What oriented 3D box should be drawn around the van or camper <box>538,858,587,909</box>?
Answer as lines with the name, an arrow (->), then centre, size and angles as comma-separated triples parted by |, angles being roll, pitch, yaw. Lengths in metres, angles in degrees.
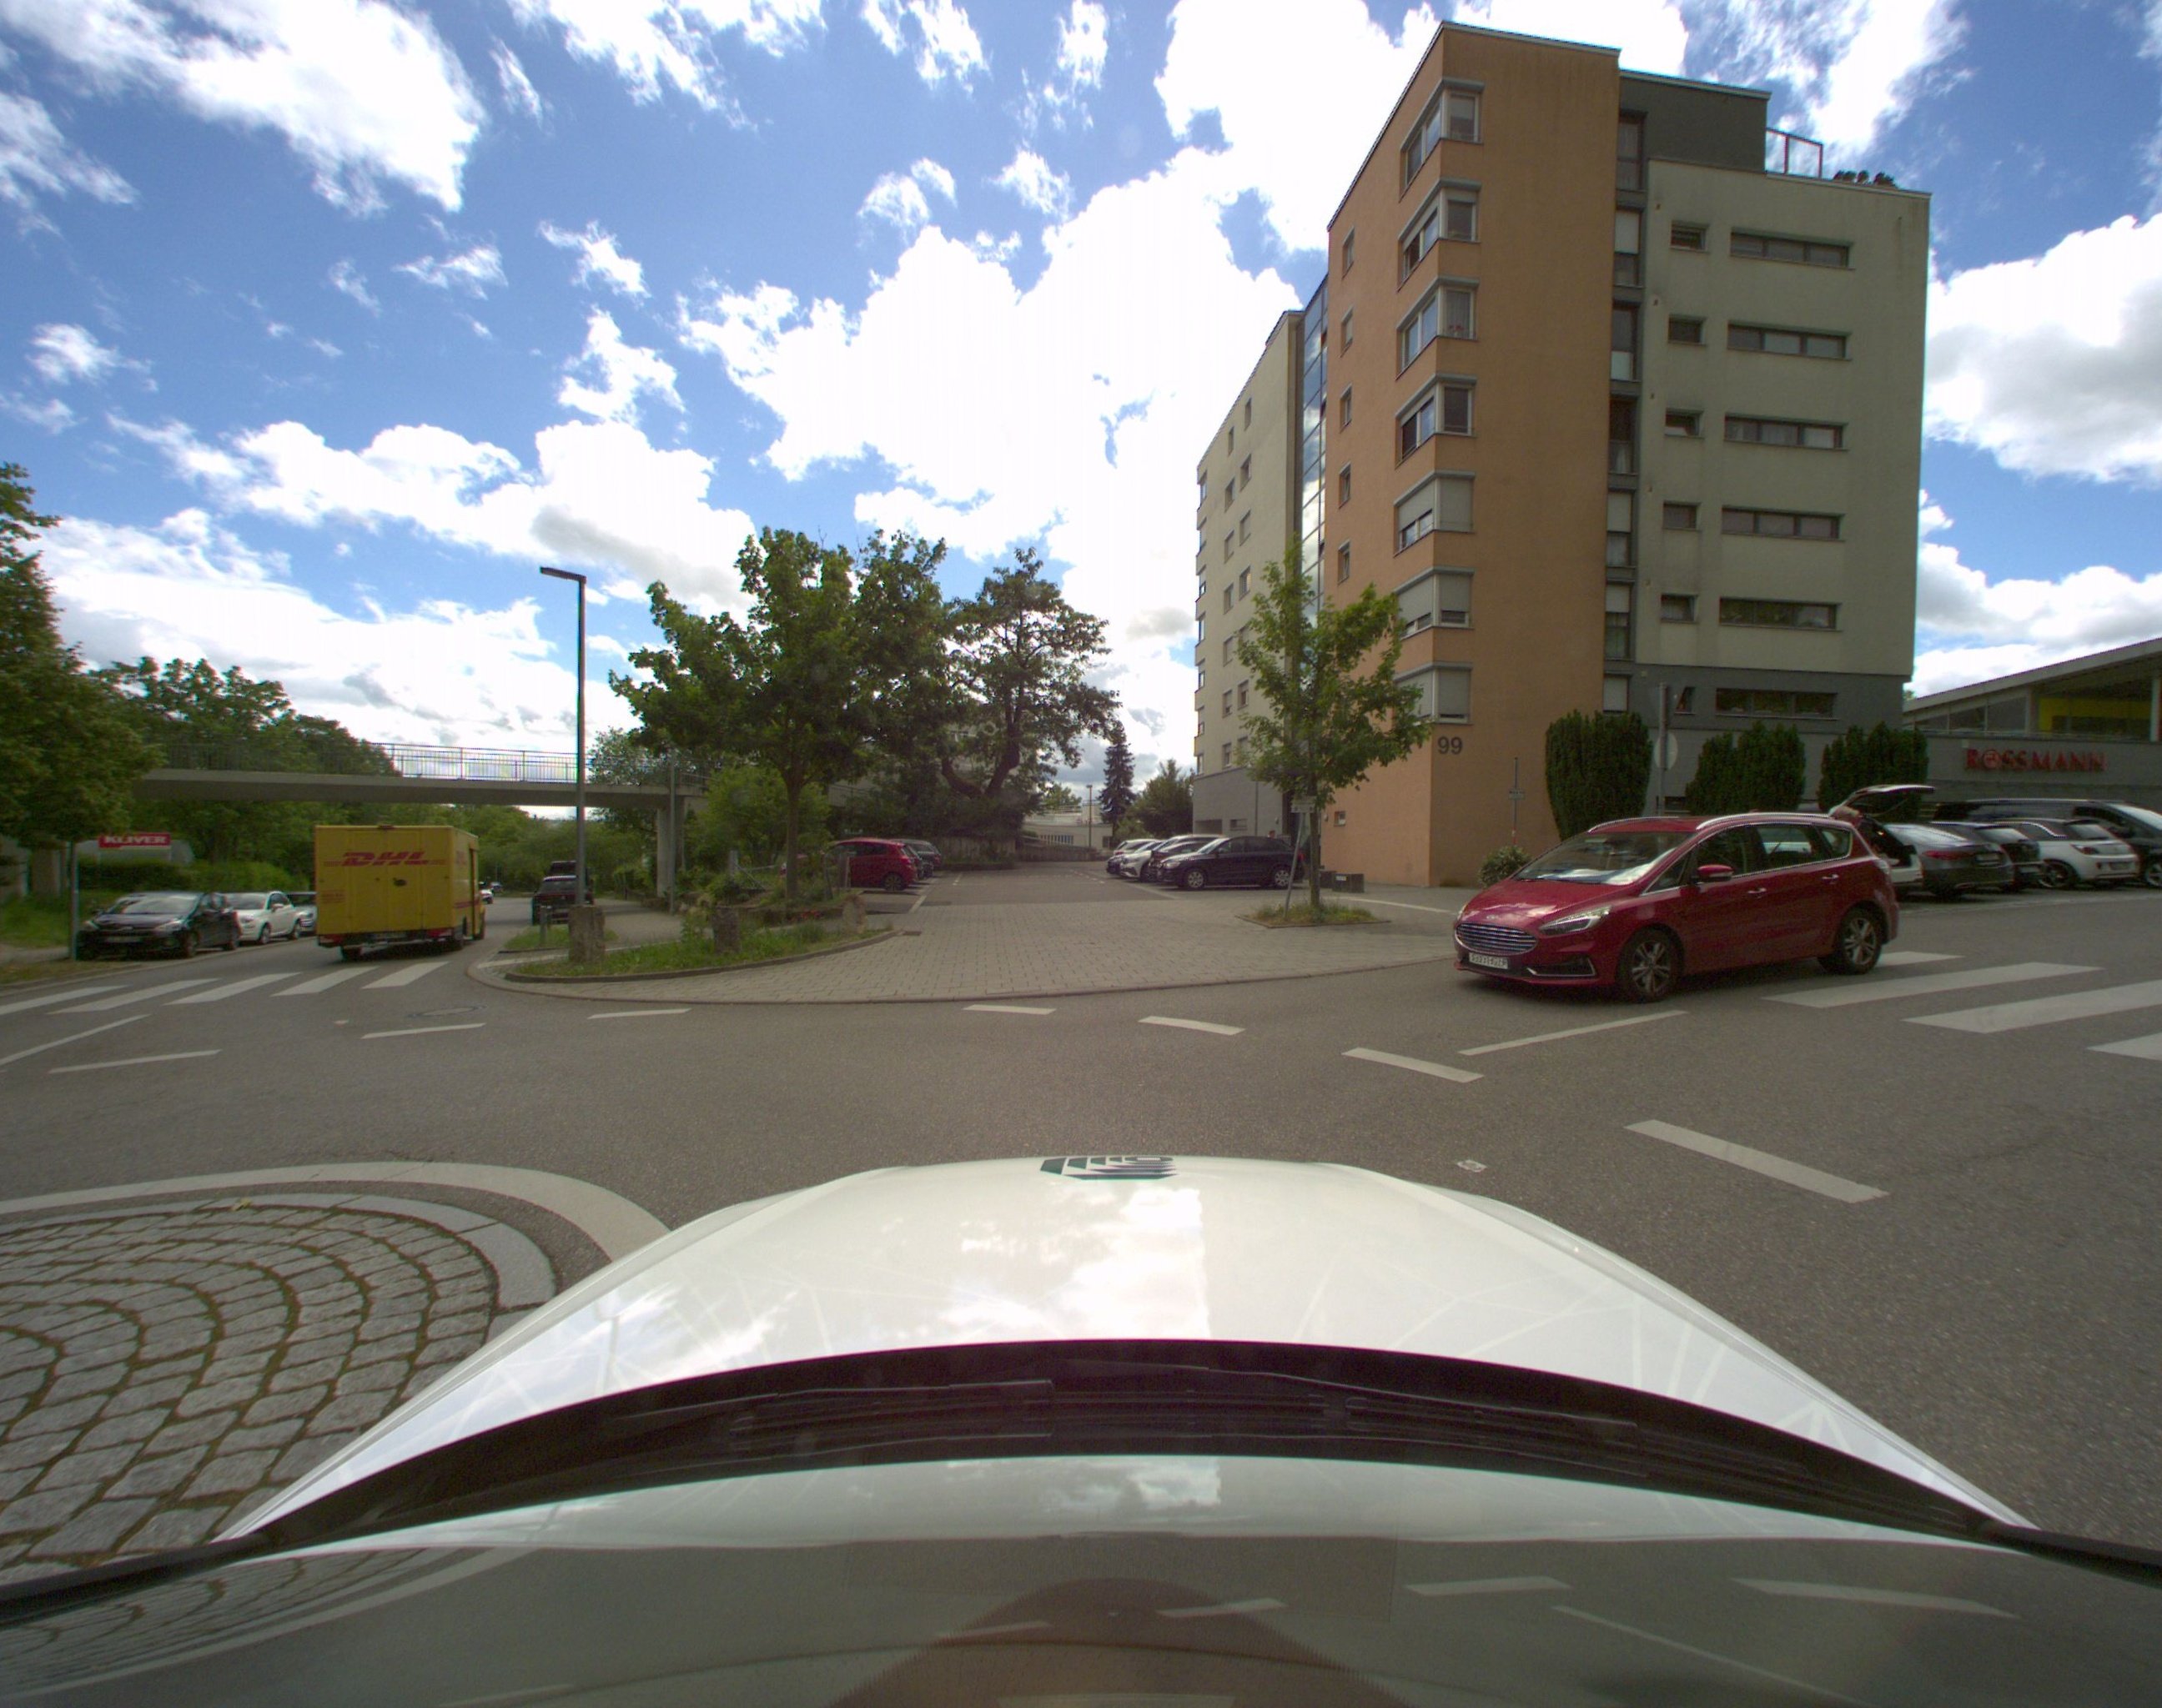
van or camper -> -28.151, 1.610, 44.272 | 2.008, 2.523, 5.414 | -3, -1, -32

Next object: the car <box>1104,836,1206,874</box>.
car -> 3.030, 0.044, 33.895 | 3.975, 1.517, 1.753 | 0, -1, -6

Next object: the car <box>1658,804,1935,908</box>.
car -> 13.212, 0.040, 15.375 | 1.567, 1.659, 3.766 | -3, 0, -9

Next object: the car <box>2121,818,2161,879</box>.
car -> 27.252, -0.176, 18.744 | 1.636, 1.482, 3.766 | -3, 0, -9

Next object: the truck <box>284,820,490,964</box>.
truck -> -15.586, 0.799, 18.827 | 2.482, 2.702, 6.757 | 0, -2, -31

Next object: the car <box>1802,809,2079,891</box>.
car -> 17.945, -0.064, 17.280 | 1.636, 1.482, 3.766 | -3, 0, -9

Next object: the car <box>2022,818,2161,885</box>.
car -> 25.144, -0.078, 19.073 | 1.636, 1.482, 3.766 | -3, 0, -9

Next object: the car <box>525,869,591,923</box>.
car -> -18.759, 1.563, 29.192 | 1.826, 1.678, 4.323 | -1, -4, -34

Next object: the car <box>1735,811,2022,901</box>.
car -> 15.327, 0.041, 15.963 | 1.636, 1.482, 3.766 | -3, 0, -9

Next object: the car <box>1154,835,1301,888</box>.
car -> 4.317, 0.220, 24.308 | 4.035, 1.517, 1.752 | 0, -1, -6

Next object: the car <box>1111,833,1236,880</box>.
car -> 3.248, 0.087, 28.975 | 4.122, 1.594, 1.685 | 0, -1, -13

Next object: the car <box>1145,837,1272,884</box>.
car -> 4.109, 0.207, 26.644 | 3.821, 1.459, 1.689 | 0, -1, -6

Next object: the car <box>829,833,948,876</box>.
car -> -7.716, 0.032, 32.869 | 4.548, 1.668, 1.936 | 0, -1, -13

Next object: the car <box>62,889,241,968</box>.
car -> -21.314, 1.632, 18.878 | 1.799, 1.468, 3.957 | 0, -1, -35

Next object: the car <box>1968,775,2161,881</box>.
car -> 22.639, -0.524, 17.869 | 1.823, 2.160, 3.965 | 0, -1, -9

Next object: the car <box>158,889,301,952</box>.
car -> -23.630, 1.791, 22.776 | 1.897, 1.460, 3.511 | 0, -1, -31

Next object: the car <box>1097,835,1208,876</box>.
car -> 2.705, 0.065, 31.442 | 4.035, 1.517, 1.752 | 0, -1, -6

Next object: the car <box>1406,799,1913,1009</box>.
car -> 5.971, 0.381, 8.510 | 4.533, 1.644, 1.968 | -3, 0, -18

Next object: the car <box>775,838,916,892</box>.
car -> -6.551, 0.299, 23.005 | 3.650, 1.439, 1.678 | 0, -1, -10

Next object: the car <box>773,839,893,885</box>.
car -> -8.284, 0.256, 27.481 | 3.650, 1.498, 1.678 | 0, -1, -10

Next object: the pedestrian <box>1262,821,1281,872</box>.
pedestrian -> 6.922, -0.271, 29.659 | 0.479, 1.853, 0.504 | 0, -1, -18

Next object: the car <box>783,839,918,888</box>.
car -> -6.943, 0.285, 24.842 | 3.788, 1.422, 1.678 | 0, -1, -10

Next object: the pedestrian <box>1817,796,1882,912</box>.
pedestrian -> 12.337, 0.002, 13.084 | 0.580, 1.812, 0.483 | 0, -1, -6

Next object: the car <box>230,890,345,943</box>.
car -> -26.172, 2.003, 27.021 | 1.897, 1.427, 3.960 | 0, -1, -31

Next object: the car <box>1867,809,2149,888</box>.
car -> 20.005, -0.106, 17.830 | 1.636, 1.482, 3.766 | -3, 0, -9

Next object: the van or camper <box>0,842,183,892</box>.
van or camper -> -44.170, 0.553, 36.525 | 4.892, 2.086, 1.977 | 0, -1, -37

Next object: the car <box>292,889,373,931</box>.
car -> -30.378, 2.223, 33.163 | 1.899, 1.509, 4.403 | 0, -2, -36

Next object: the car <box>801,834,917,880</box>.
car -> -8.119, 0.104, 30.087 | 3.991, 1.614, 1.936 | 0, -1, -13
